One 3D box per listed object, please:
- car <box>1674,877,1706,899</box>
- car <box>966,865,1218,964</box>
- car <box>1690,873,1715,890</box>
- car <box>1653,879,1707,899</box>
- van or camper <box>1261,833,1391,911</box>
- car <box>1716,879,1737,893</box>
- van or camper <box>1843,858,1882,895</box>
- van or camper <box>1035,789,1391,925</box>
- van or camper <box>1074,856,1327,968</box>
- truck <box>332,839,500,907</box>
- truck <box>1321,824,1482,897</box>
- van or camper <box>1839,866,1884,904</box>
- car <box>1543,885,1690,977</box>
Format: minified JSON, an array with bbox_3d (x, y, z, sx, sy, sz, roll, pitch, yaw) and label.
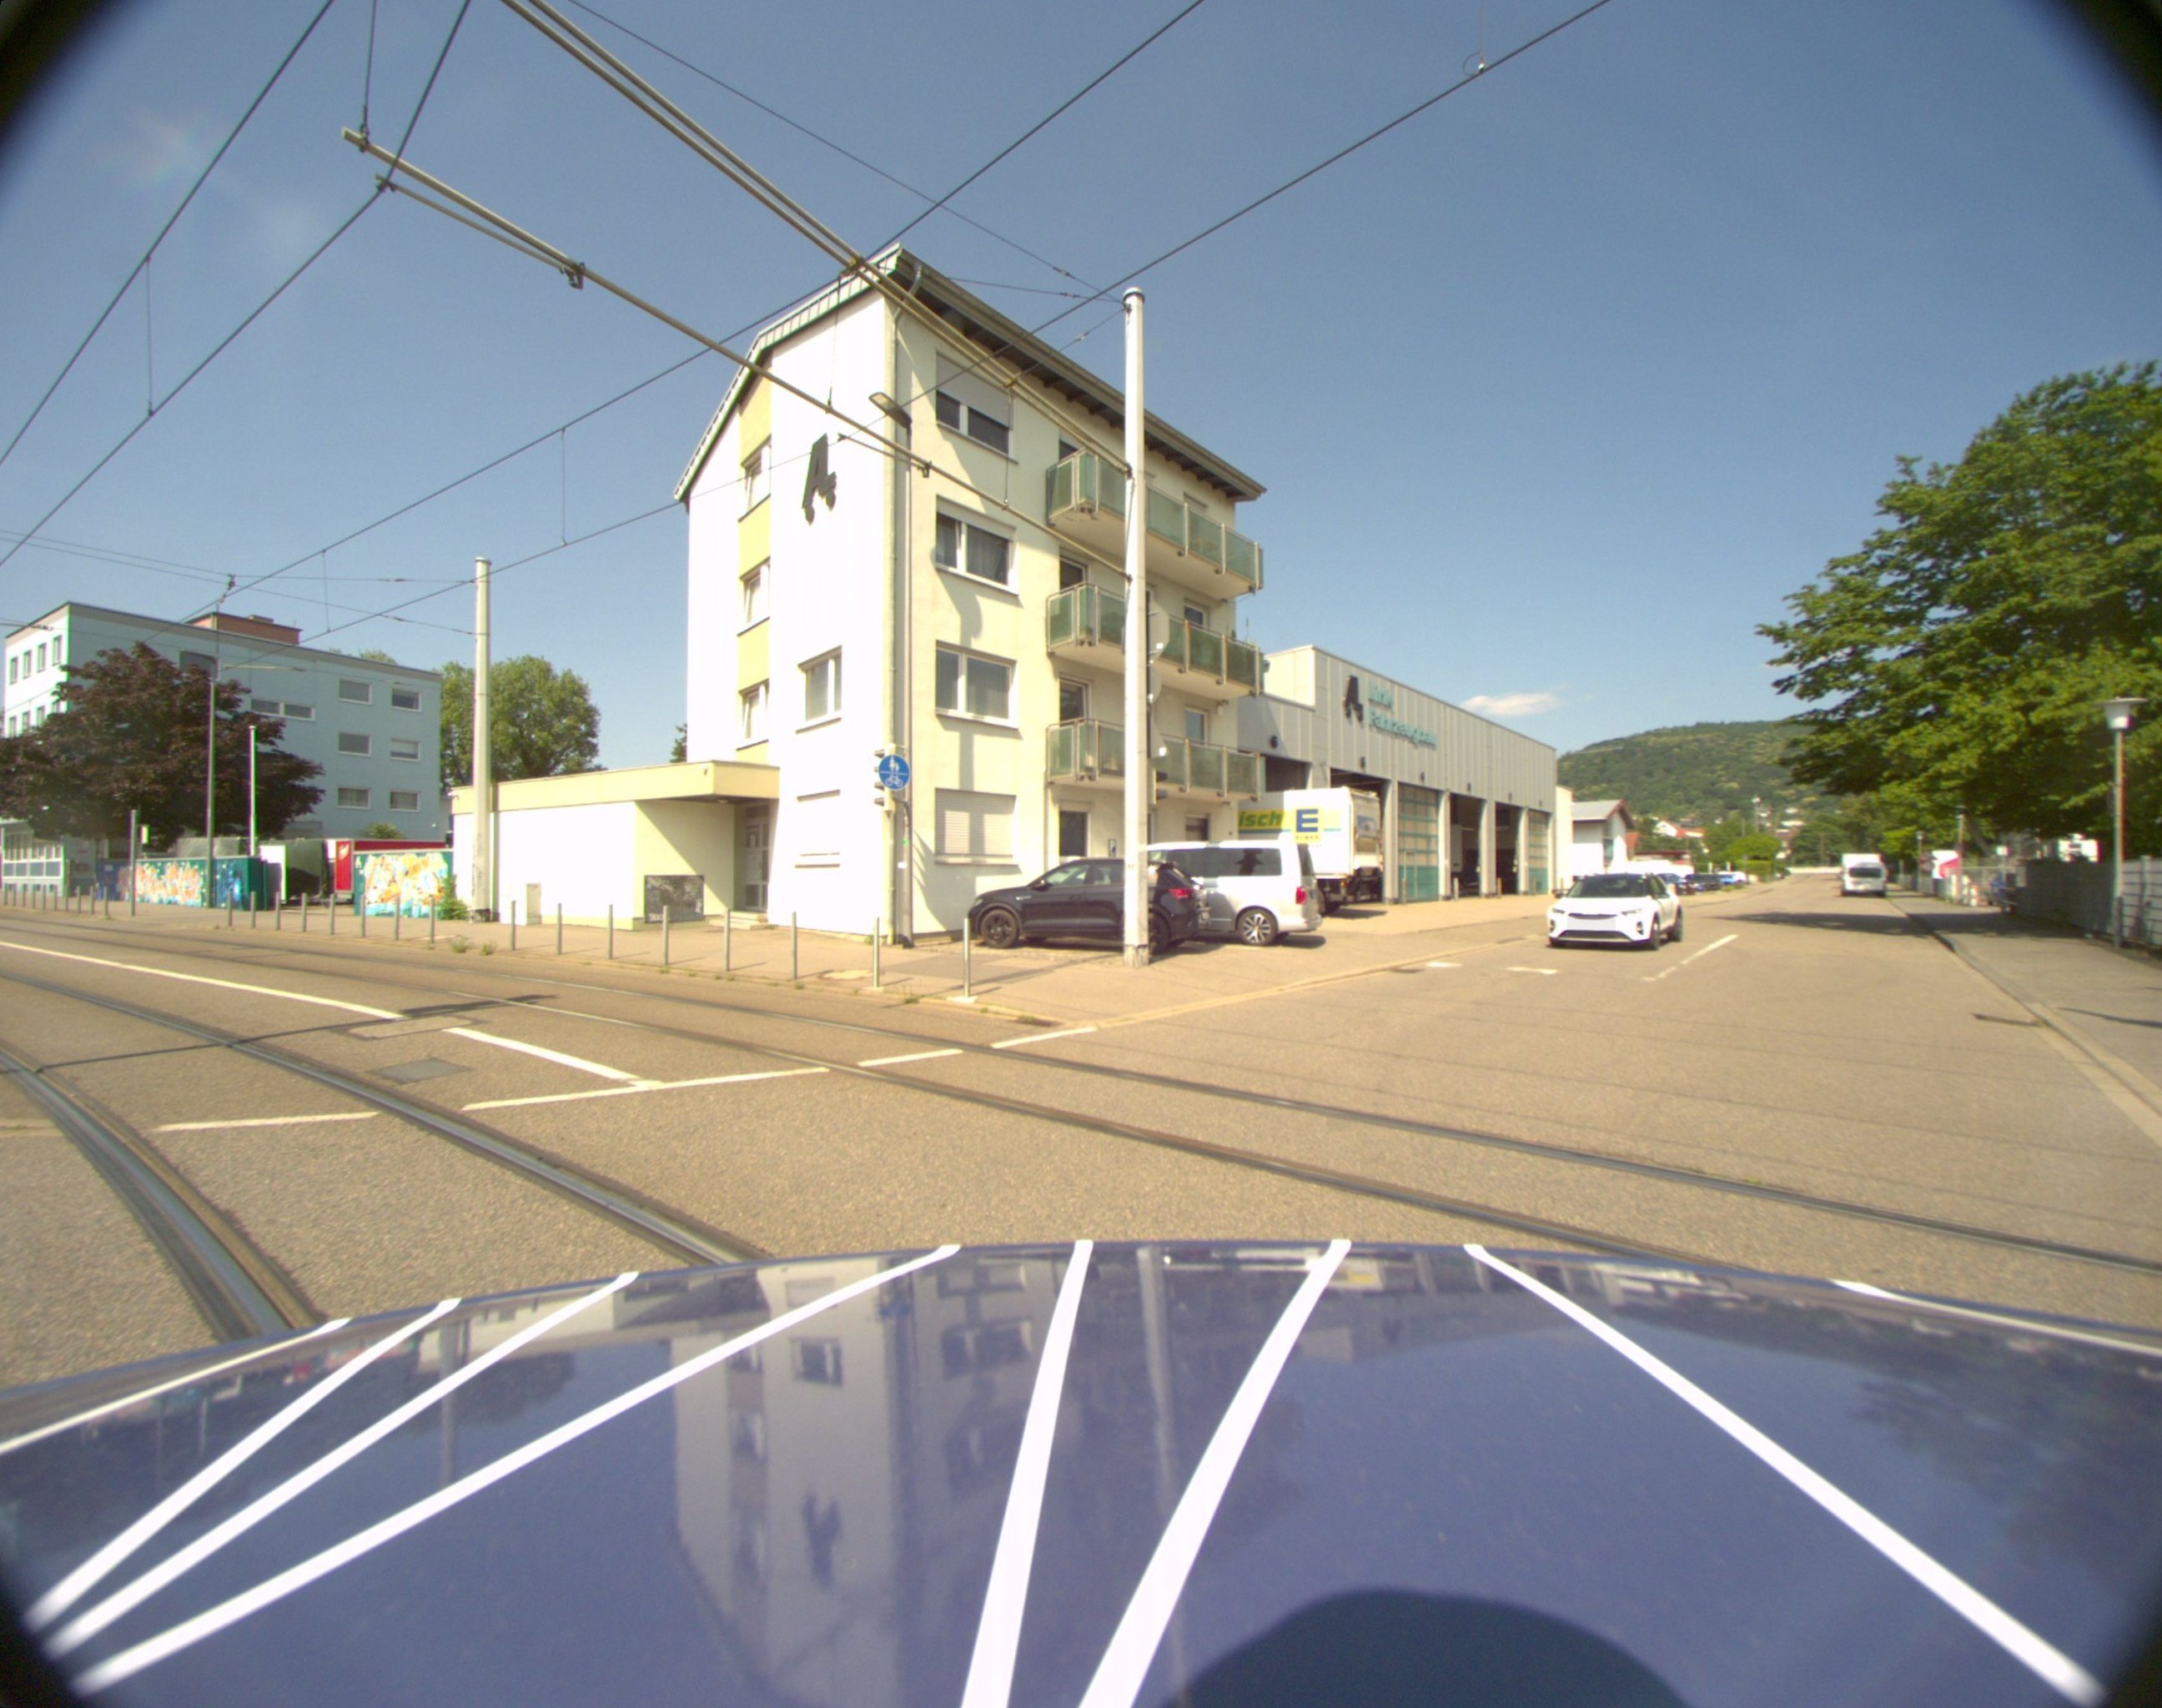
[{"bbox_3d":[39.640,2.195,49.440,1.449,1.371,3.194,-1,-1,42],"label":"car"},{"bbox_3d":[0.219,0.944,13.192,3.964,1.512,1.883,0,-1,21],"label":"car"},{"bbox_3d":[56.519,2.476,69.132,1.449,1.487,3.194,-3,-2,34],"label":"car"},{"bbox_3d":[44.863,2.601,56.910,1.456,1.332,2.969,1,-1,-44],"label":"car"},{"bbox_3d":[10.670,0.785,33.407,5.045,3.186,2.004,-1,-1,44],"label":"van or camper"},{"bbox_3d":[67.210,3.367,79.083,1.449,1.370,3.194,-4,-3,42],"label":"car"},{"bbox_3d":[74.420,2.122,72.419,2.520,3.350,5.604,0,0,45],"label":"van or camper"},{"bbox_3d":[3.771,0.024,25.156,11.602,3.671,2.787,1,0,39],"label":"van or camper"},{"bbox_3d":[2.361,1.031,15.054,4.544,1.896,2.004,0,-1,25],"label":"van or camper"},{"bbox_3d":[-27.601,0.786,31.714,2.183,2.610,4.845,0,-1,33],"label":"truck"},{"bbox_3d":[17.734,0.369,42.514,2.630,3.759,7.838,1,-1,-44],"label":"truck"},{"bbox_3d":[52.474,2.040,51.163,2.024,2.363,4.696,1,0,45],"label":"van or camper"},{"bbox_3d":[11.023,1.451,15.523,4.118,1.521,1.732,1,-1,-44],"label":"car"}]
